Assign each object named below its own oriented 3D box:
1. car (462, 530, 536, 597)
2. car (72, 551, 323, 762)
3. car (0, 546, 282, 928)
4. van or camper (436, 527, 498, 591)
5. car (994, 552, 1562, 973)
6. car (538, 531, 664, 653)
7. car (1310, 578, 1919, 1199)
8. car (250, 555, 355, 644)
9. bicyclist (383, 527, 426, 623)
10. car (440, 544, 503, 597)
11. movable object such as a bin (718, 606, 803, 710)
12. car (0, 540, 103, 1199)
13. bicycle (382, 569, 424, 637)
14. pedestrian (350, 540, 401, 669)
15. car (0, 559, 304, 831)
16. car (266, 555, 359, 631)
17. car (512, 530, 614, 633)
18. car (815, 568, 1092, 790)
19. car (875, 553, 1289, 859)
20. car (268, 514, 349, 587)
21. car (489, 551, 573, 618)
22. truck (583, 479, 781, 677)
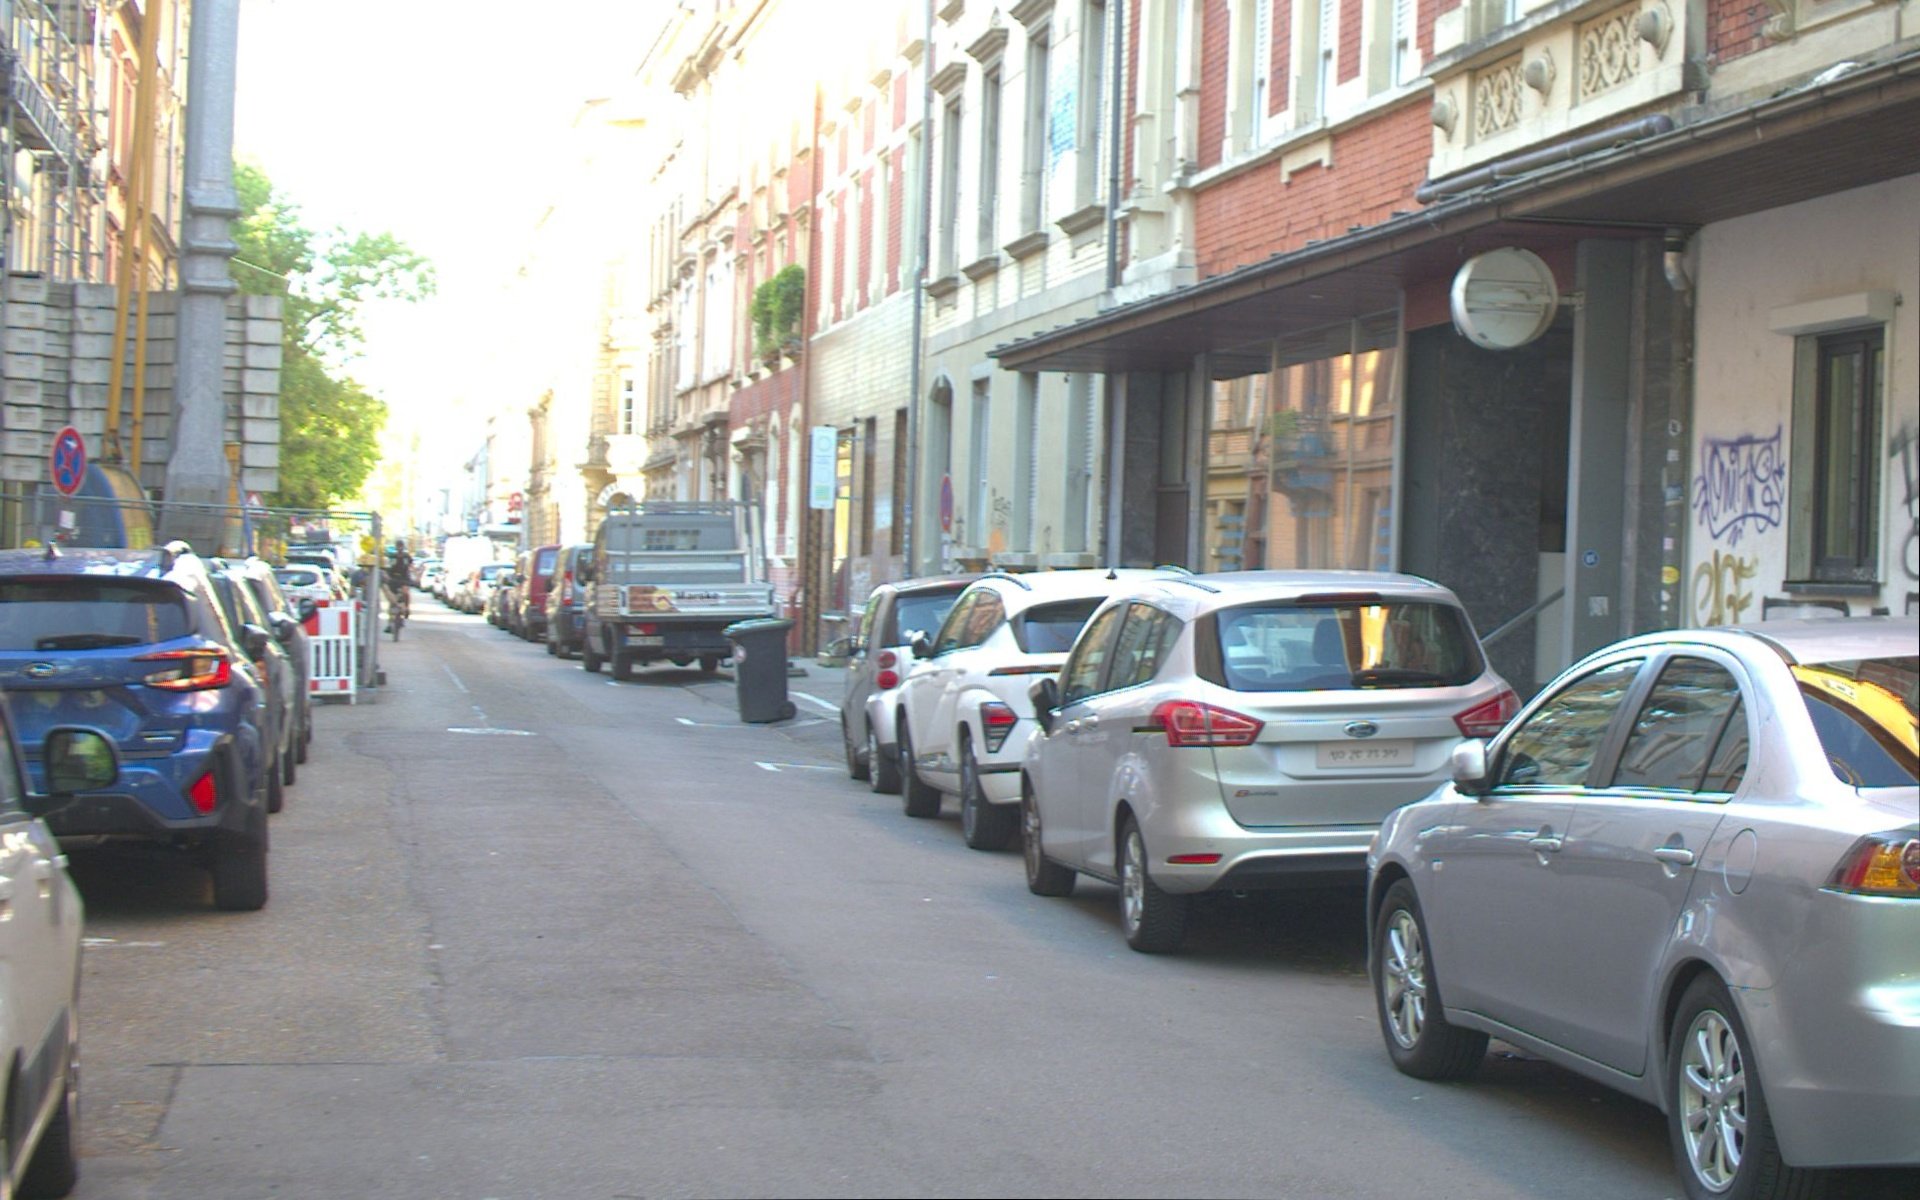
[{"bbox_3d":[-14.547,-1.168,108.333,1.993,2.007,4.001,2,1,-11],"label":"car"},{"bbox_3d":[-5.839,0.383,26.730,1.674,1.472,4.609,1,0,-10],"label":"car"},{"bbox_3d":[-4.070,0.530,15.998,1.728,1.534,4.379,0,1,-12],"label":"car"},{"bbox_3d":[-19.557,-1.636,136.357,1.993,2.500,4.203,1,1,-14],"label":"van or camper"},{"bbox_3d":[1.303,0.643,15.685,1.639,1.650,3.870,2,0,-9],"label":"car"},{"bbox_3d":[-6.138,-0.148,58.452,1.674,1.956,4.110,1,0,-12],"label":"car"},{"bbox_3d":[2.434,0.771,9.636,1.720,1.557,4.400,2,1,-10],"label":"car"},{"bbox_3d":[-11.361,-0.024,59.268,1.674,1.440,3.870,1,0,-12],"label":"car"},{"bbox_3d":[-10.406,-0.476,64.395,0.730,1.755,0.835,2,1,-9],"label":"bicyclist"},{"bbox_3d":[-17.340,-1.054,121.861,1.993,1.842,4.001,1,1,-11],"label":"car"},{"bbox_3d":[-2.091,0.606,36.053,0.795,1.052,0.660,2,0,-10],"label":"movable object such as a bin"},{"bbox_3d":[-2.682,0.648,6.988,1.674,1.534,3.870,1,0,-12],"label":"car"},{"bbox_3d":[-10.438,0.052,64.428,0.724,1.182,2.043,3,1,-9],"label":"bicycle"},{"bbox_3d":[-7.884,0.058,46.348,0.657,1.727,0.720,0,1,-10],"label":"pedestrian"},{"bbox_3d":[-5.018,0.520,21.564,1.674,1.506,4.416,1,0,-10],"label":"car"},{"bbox_3d":[-12.825,-0.151,67.963,1.674,1.440,3.870,1,0,-12],"label":"car"},{"bbox_3d":[-8.200,-0.388,70.780,1.674,2.024,3.870,1,0,-12],"label":"car"},{"bbox_3d":[-0.123,0.552,26.476,1.596,1.555,3.814,1,1,-8],"label":"car"},{"bbox_3d":[0.633,0.574,21.248,1.746,1.670,4.341,1,0,-9],"label":"car"},{"bbox_3d":[-14.793,-1.108,77.945,1.674,1.566,3.870,1,0,-12],"label":"car"},{"bbox_3d":[-10.518,-0.395,84.070,1.674,1.566,3.870,1,0,-12],"label":"car"},{"bbox_3d":[-3.961,-0.323,48.164,2.189,2.598,5.236,1,1,-11],"label":"truck"}]
